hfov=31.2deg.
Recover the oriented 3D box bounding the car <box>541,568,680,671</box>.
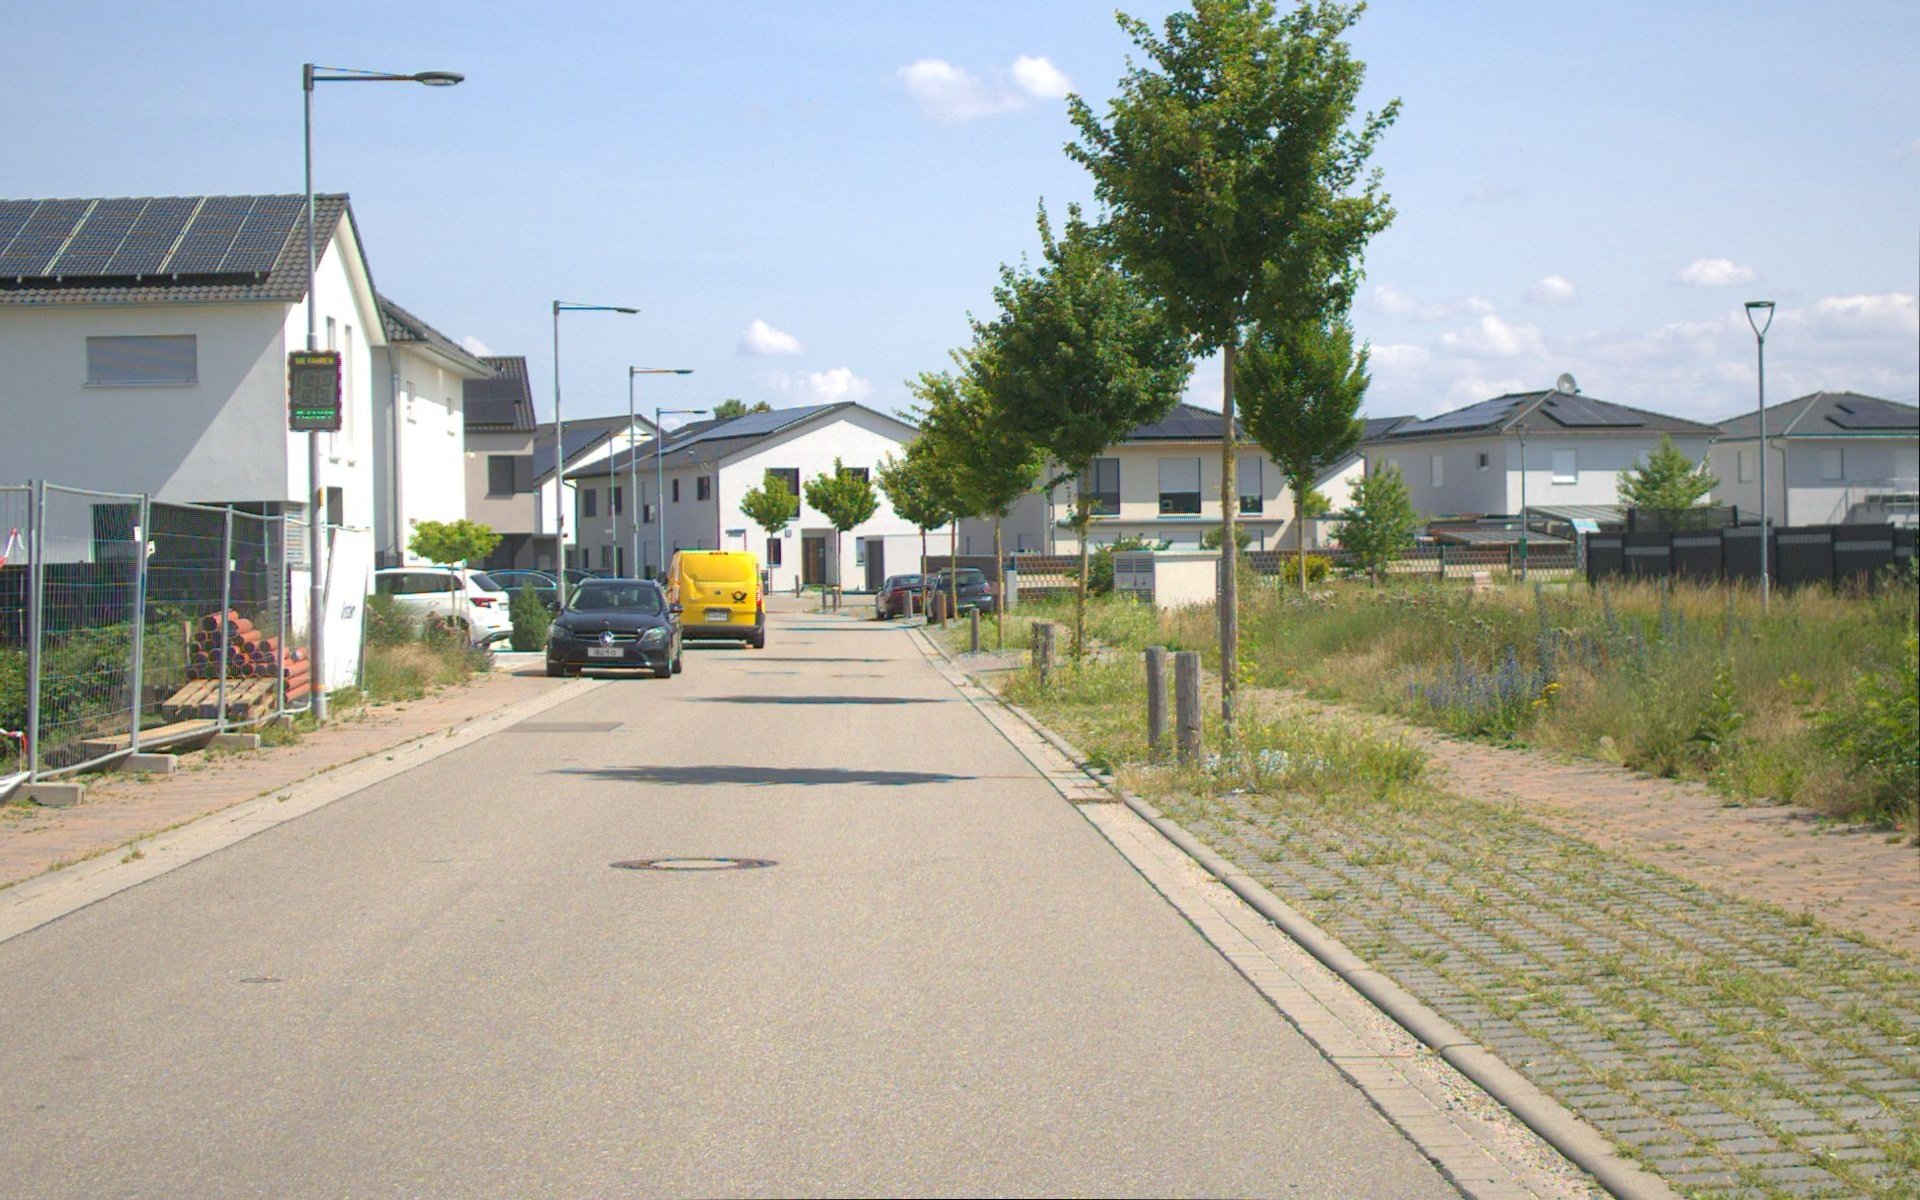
[{"bbox_3d":[-5.145,0.256,51.049,1.745,1.400,4.160,2,1,-2],"label":"car"}]

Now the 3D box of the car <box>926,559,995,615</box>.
[{"bbox_3d":[-0.009,-0.319,91.402,1.639,1.398,3.811,-1,-1,-3],"label":"car"}]

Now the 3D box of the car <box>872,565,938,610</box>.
[{"bbox_3d":[-1.781,-0.381,109.982,1.627,1.318,3.834,-1,-1,-8],"label":"car"}]

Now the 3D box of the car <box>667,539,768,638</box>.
[{"bbox_3d":[-5.054,-0.218,71.209,1.941,1.975,4.218,-1,0,-6],"label":"car"}]

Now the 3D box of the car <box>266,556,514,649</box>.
[{"bbox_3d":[-10.166,0.029,61.450,4.069,1.576,1.784,1,1,4],"label":"car"}]

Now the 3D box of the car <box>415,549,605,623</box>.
[{"bbox_3d":[-10.708,-0.333,81.818,4.159,1.499,1.816,3,0,-17],"label":"car"}]
